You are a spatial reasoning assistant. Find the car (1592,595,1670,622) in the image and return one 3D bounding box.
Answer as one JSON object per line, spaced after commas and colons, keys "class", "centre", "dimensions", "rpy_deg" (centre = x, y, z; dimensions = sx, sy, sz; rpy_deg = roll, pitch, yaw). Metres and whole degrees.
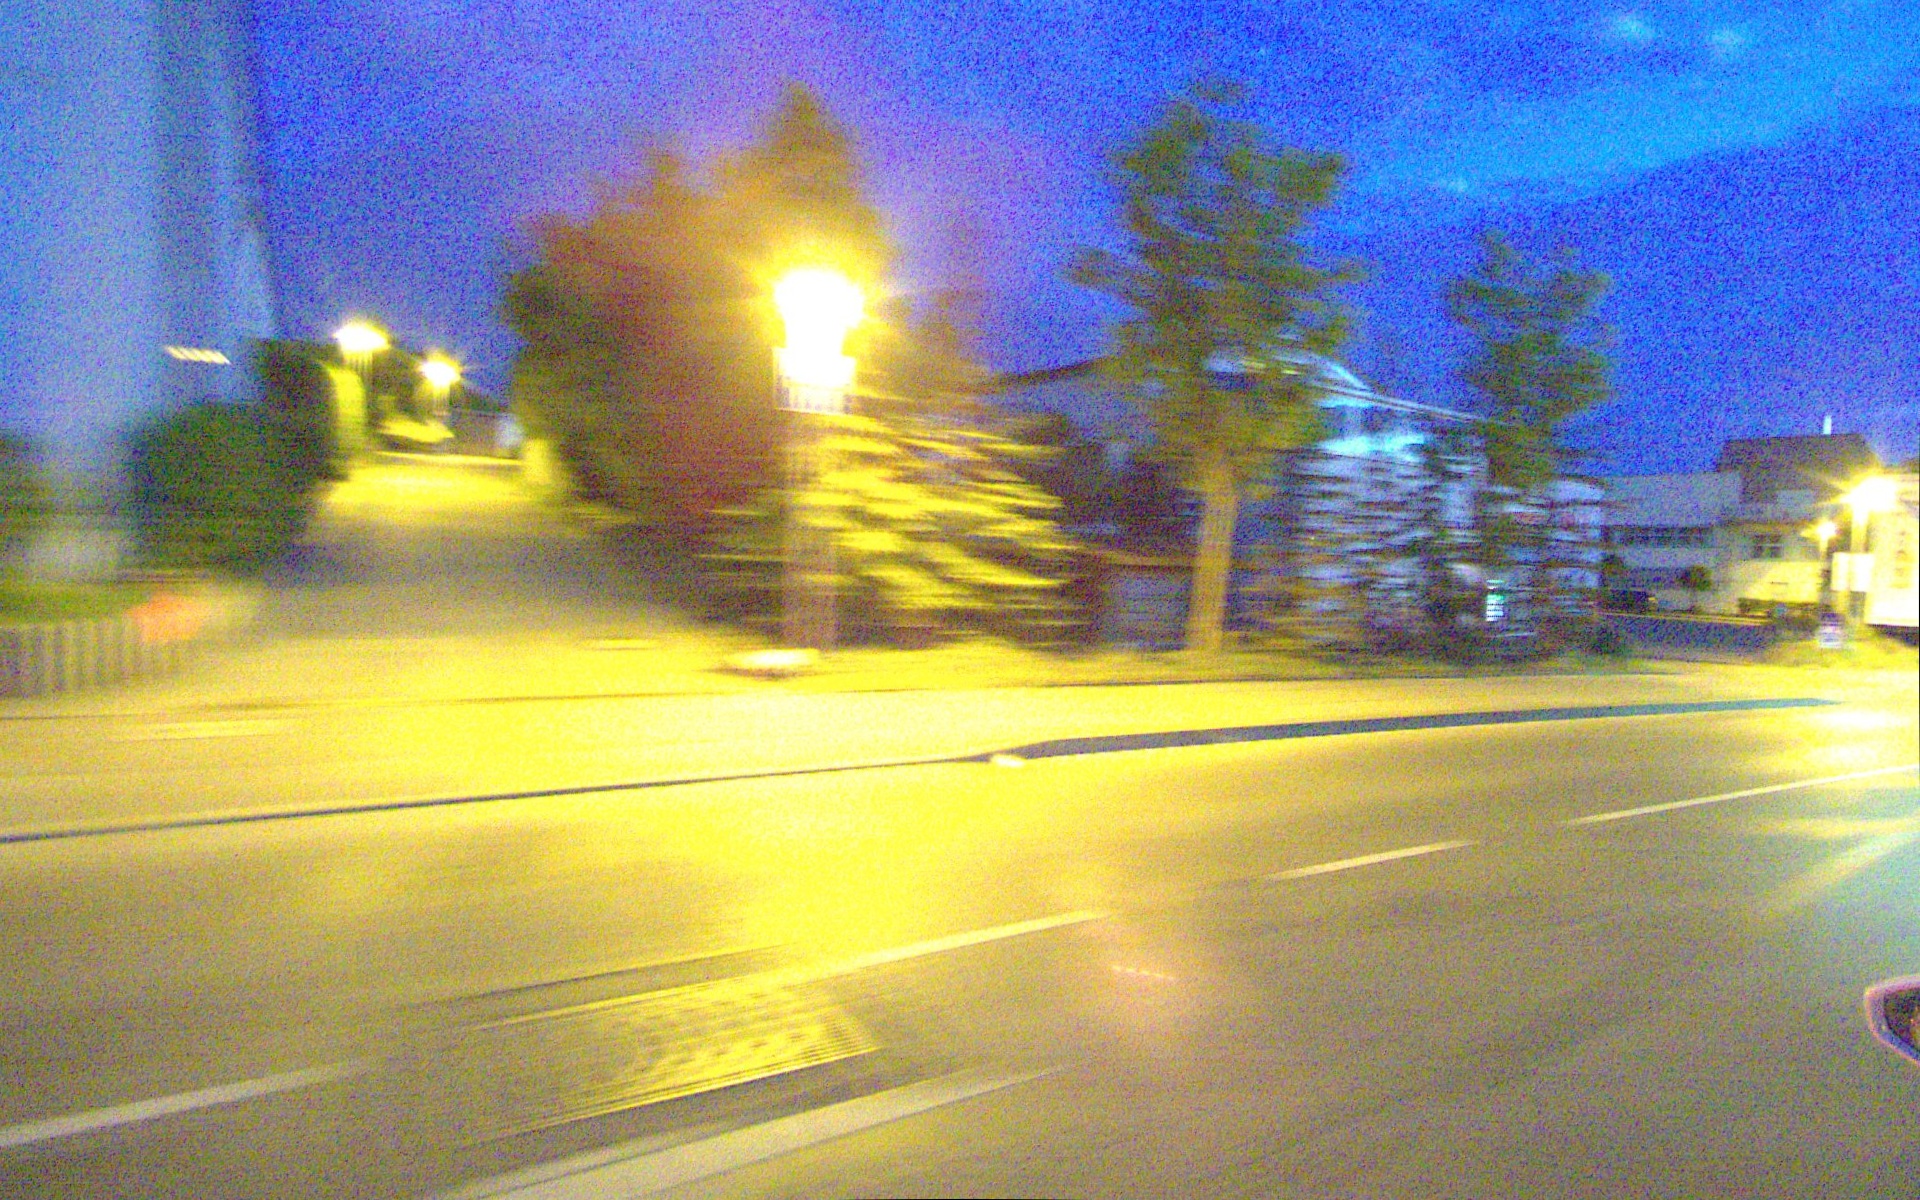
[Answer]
{"class": "car", "centre": [48.092, 0.580, 72.057], "dimensions": [1.897, 1.611, 4.293], "rpy_deg": [1, 3, -43]}
